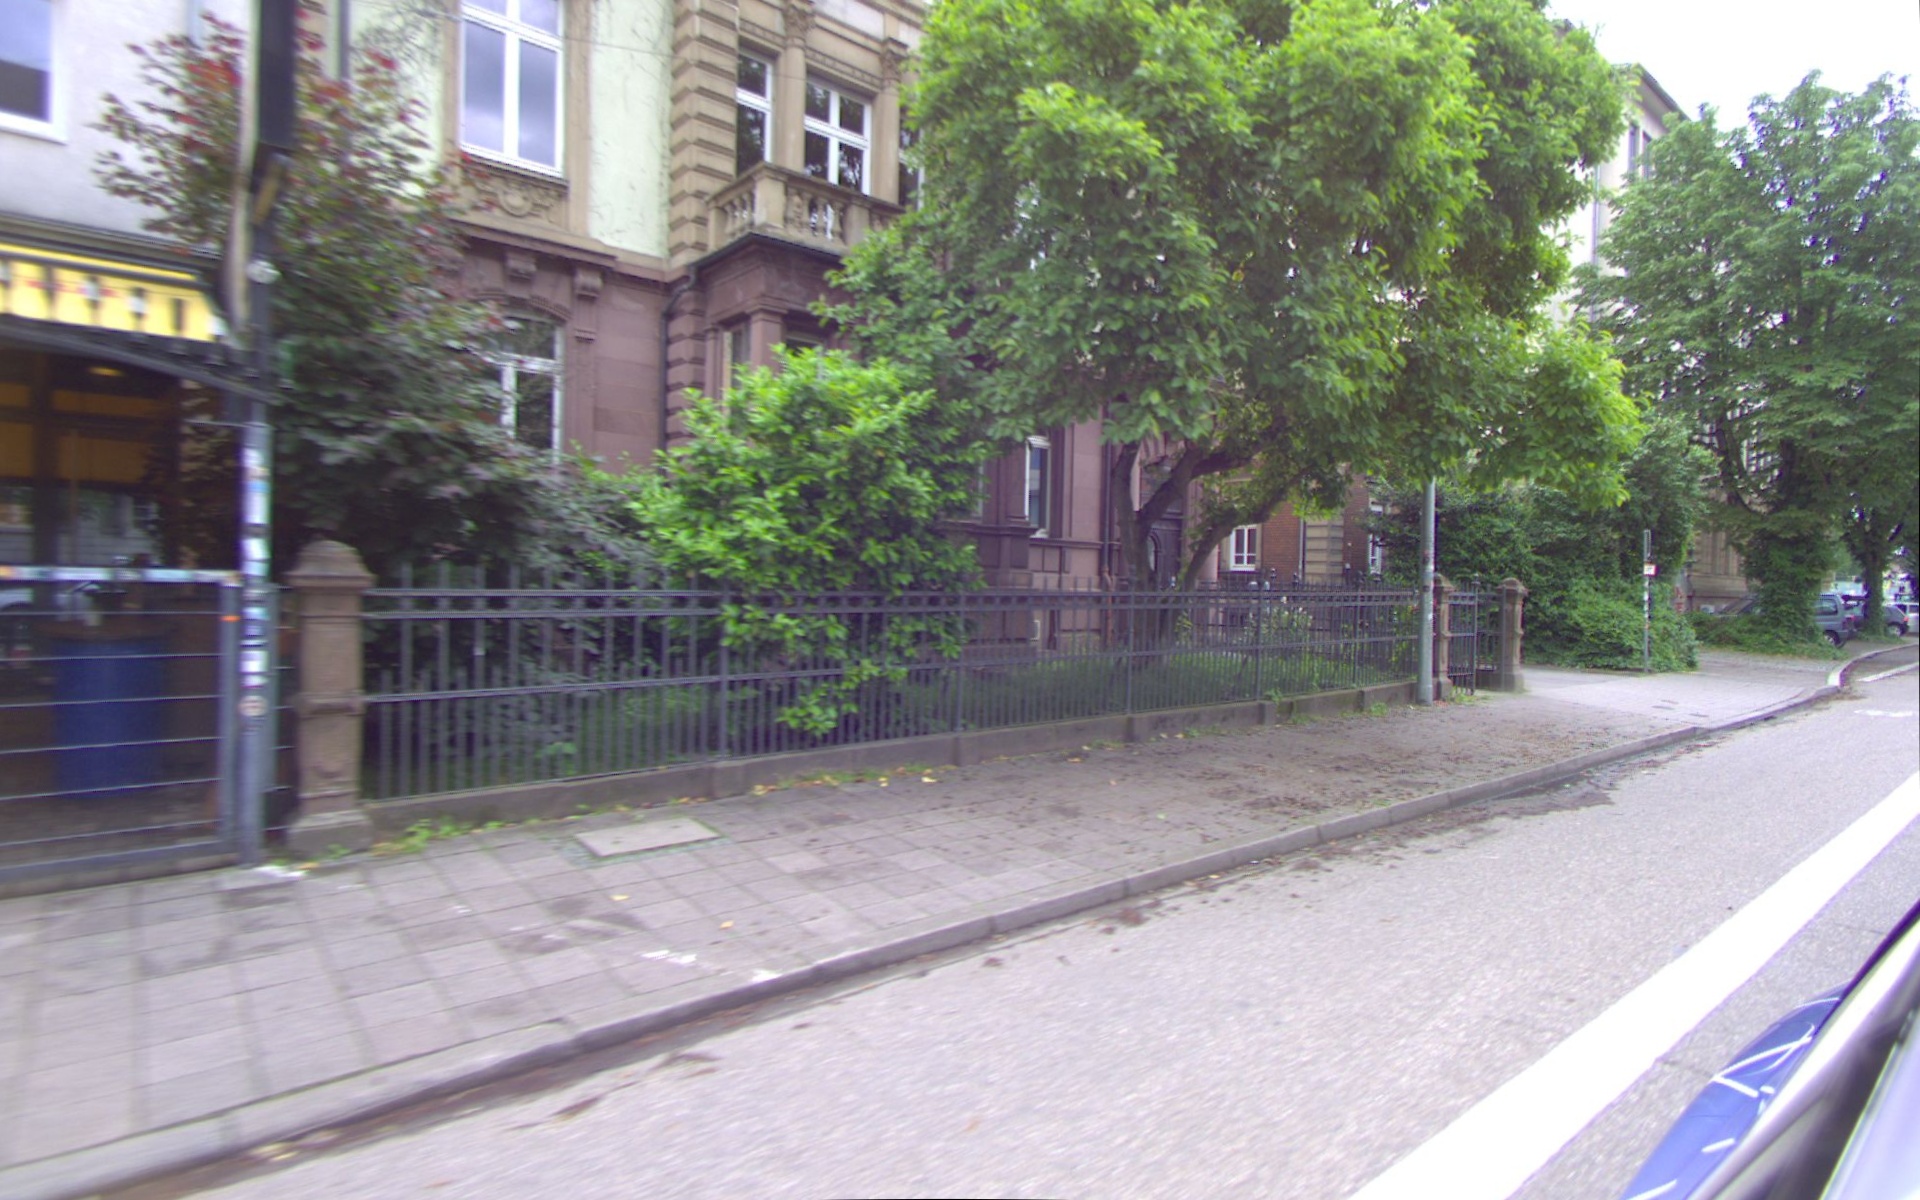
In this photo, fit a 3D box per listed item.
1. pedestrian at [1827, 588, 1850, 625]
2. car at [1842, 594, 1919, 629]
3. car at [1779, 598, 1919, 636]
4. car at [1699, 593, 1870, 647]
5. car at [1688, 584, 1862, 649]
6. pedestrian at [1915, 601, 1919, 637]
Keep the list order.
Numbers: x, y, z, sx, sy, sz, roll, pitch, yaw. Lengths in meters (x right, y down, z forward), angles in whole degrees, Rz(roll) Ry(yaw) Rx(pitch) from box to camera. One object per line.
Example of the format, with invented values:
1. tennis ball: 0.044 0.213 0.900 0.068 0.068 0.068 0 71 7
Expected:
1. pedestrian: 45.463 0.331 52.381 0.738 1.861 0.680 1 2 -40
2. car: 44.242 0.548 47.213 4.286 1.571 1.733 2 1 28
3. car: 37.657 0.705 42.812 4.273 1.420 1.745 2 1 18
4. car: 27.386 0.630 33.758 3.944 1.558 1.856 2 1 16
5. car: 25.420 0.475 31.737 3.792 1.843 1.795 2 1 20
6. pedestrian: 43.572 0.858 45.565 0.638 1.646 0.586 1 0 27
